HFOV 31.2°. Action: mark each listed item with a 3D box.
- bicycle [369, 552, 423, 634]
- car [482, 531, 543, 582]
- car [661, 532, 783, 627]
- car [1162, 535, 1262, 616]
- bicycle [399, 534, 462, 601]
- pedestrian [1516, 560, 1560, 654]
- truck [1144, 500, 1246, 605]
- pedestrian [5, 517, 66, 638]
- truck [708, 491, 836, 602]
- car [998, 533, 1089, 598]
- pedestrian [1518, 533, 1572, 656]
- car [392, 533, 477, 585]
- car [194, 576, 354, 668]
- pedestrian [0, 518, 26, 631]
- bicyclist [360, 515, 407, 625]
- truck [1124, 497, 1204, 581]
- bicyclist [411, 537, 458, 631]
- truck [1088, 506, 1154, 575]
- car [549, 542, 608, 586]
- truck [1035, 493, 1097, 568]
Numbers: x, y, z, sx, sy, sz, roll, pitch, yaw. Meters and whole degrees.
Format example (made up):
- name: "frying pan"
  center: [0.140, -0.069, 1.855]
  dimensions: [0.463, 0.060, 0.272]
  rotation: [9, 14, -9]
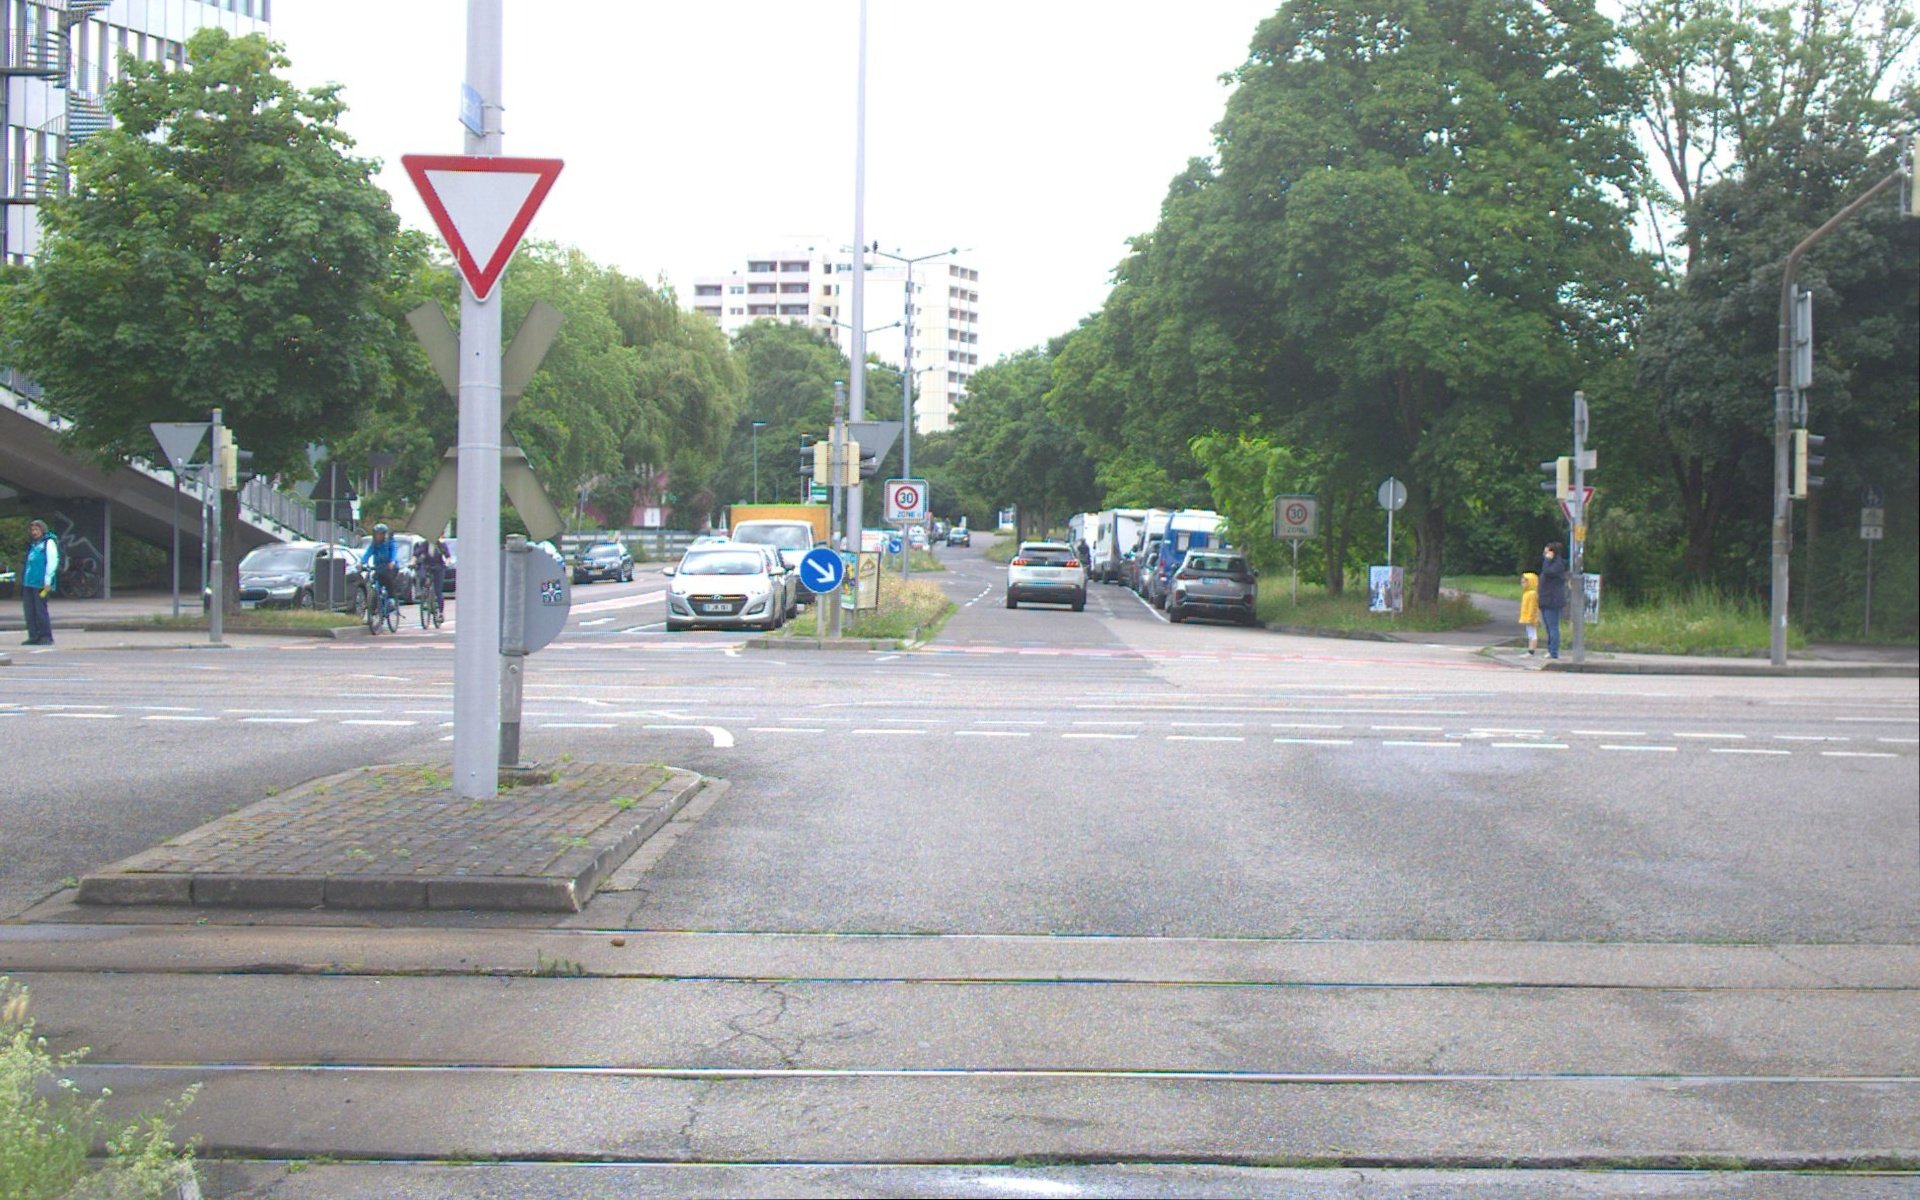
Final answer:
- name: "bicycle"
  center: [-9.122, -0.126, 55.642]
  dimensions: [0.543, 1.263, 2.111]
  rotation: [1, 1, -1]
- name: "car"
  center: [-14.004, -1.388, 107.649]
  dimensions: [1.444, 1.546, 3.664]
  rotation: [1, 1, -1]
- name: "car"
  center: [-3.973, -0.375, 57.927]
  dimensions: [1.789, 1.514, 4.326]
  rotation: [1, 1, -1]
- name: "car"
  center: [5.395, -0.548, 73.928]
  dimensions: [1.784, 1.656, 4.000]
  rotation: [1, 1, -1]
- name: "bicycle"
  center: [-8.971, -0.568, 58.333]
  dimensions: [0.726, 1.097, 2.264]
  rotation: [1, 1, -1]
- name: "pedestrian"
  center: [8.382, 0.100, 49.852]
  dimensions: [0.527, 1.337, 0.525]
  rotation: [1, 1, -1]
- name: "truck"
  center: [6.150, -1.243, 90.719]
  dimensions: [2.174, 2.647, 6.247]
  rotation: [0, 1, -1]
- name: "pedestrian"
  center: [-12.325, -0.305, 45.832]
  dimensions: [0.687, 1.599, 0.488]
  rotation: [1, 1, -5]
- name: "truck"
  center: [-3.879, -1.132, 71.971]
  dimensions: [2.155, 2.191, 5.840]
  rotation: [1, 1, 2]
- name: "car"
  center: [1.984, -0.853, 82.821]
  dimensions: [2.020, 1.500, 4.000]
  rotation: [1, 1, -1]
- name: "pedestrian"
  center: [8.377, -0.085, 49.225]
  dimensions: [0.657, 1.744, 0.459]
  rotation: [1, 1, -1]
- name: "car"
  center: [-14.500, -1.148, 95.039]
  dimensions: [1.763, 1.390, 4.000]
  rotation: [1, 1, -1]
- name: "car"
  center: [-12.547, 0.371, 63.101]
  dimensions: [1.672, 1.546, 3.999]
  rotation: [1, 1, 8]
- name: "pedestrian"
  center: [-12.957, -0.345, 45.844]
  dimensions: [0.917, 1.505, 0.404]
  rotation: [1, 1, -11]
- name: "bicyclist"
  center: [-9.308, -0.490, 55.506]
  dimensions: [0.644, 1.762, 0.647]
  rotation: [1, 1, -1]
- name: "truck"
  center: [7.098, -2.127, 120.061]
  dimensions: [1.993, 2.828, 5.732]
  rotation: [1, 1, -4]
- name: "bicyclist"
  center: [-8.976, -0.278, 58.724]
  dimensions: [0.679, 1.589, 0.695]
  rotation: [1, 0, -1]
- name: "truck"
  center: [6.160, -2.254, 132.134]
  dimensions: [1.993, 2.564, 5.379]
  rotation: [1, 1, -2]
- name: "car"
  center: [-13.977, -1.344, 125.994]
  dimensions: [1.671, 1.546, 4.000]
  rotation: [1, 1, 0]
- name: "truck"
  center: [4.382, -2.862, 142.921]
  dimensions: [1.993, 2.998, 5.773]
  rotation: [1, 1, -4]
